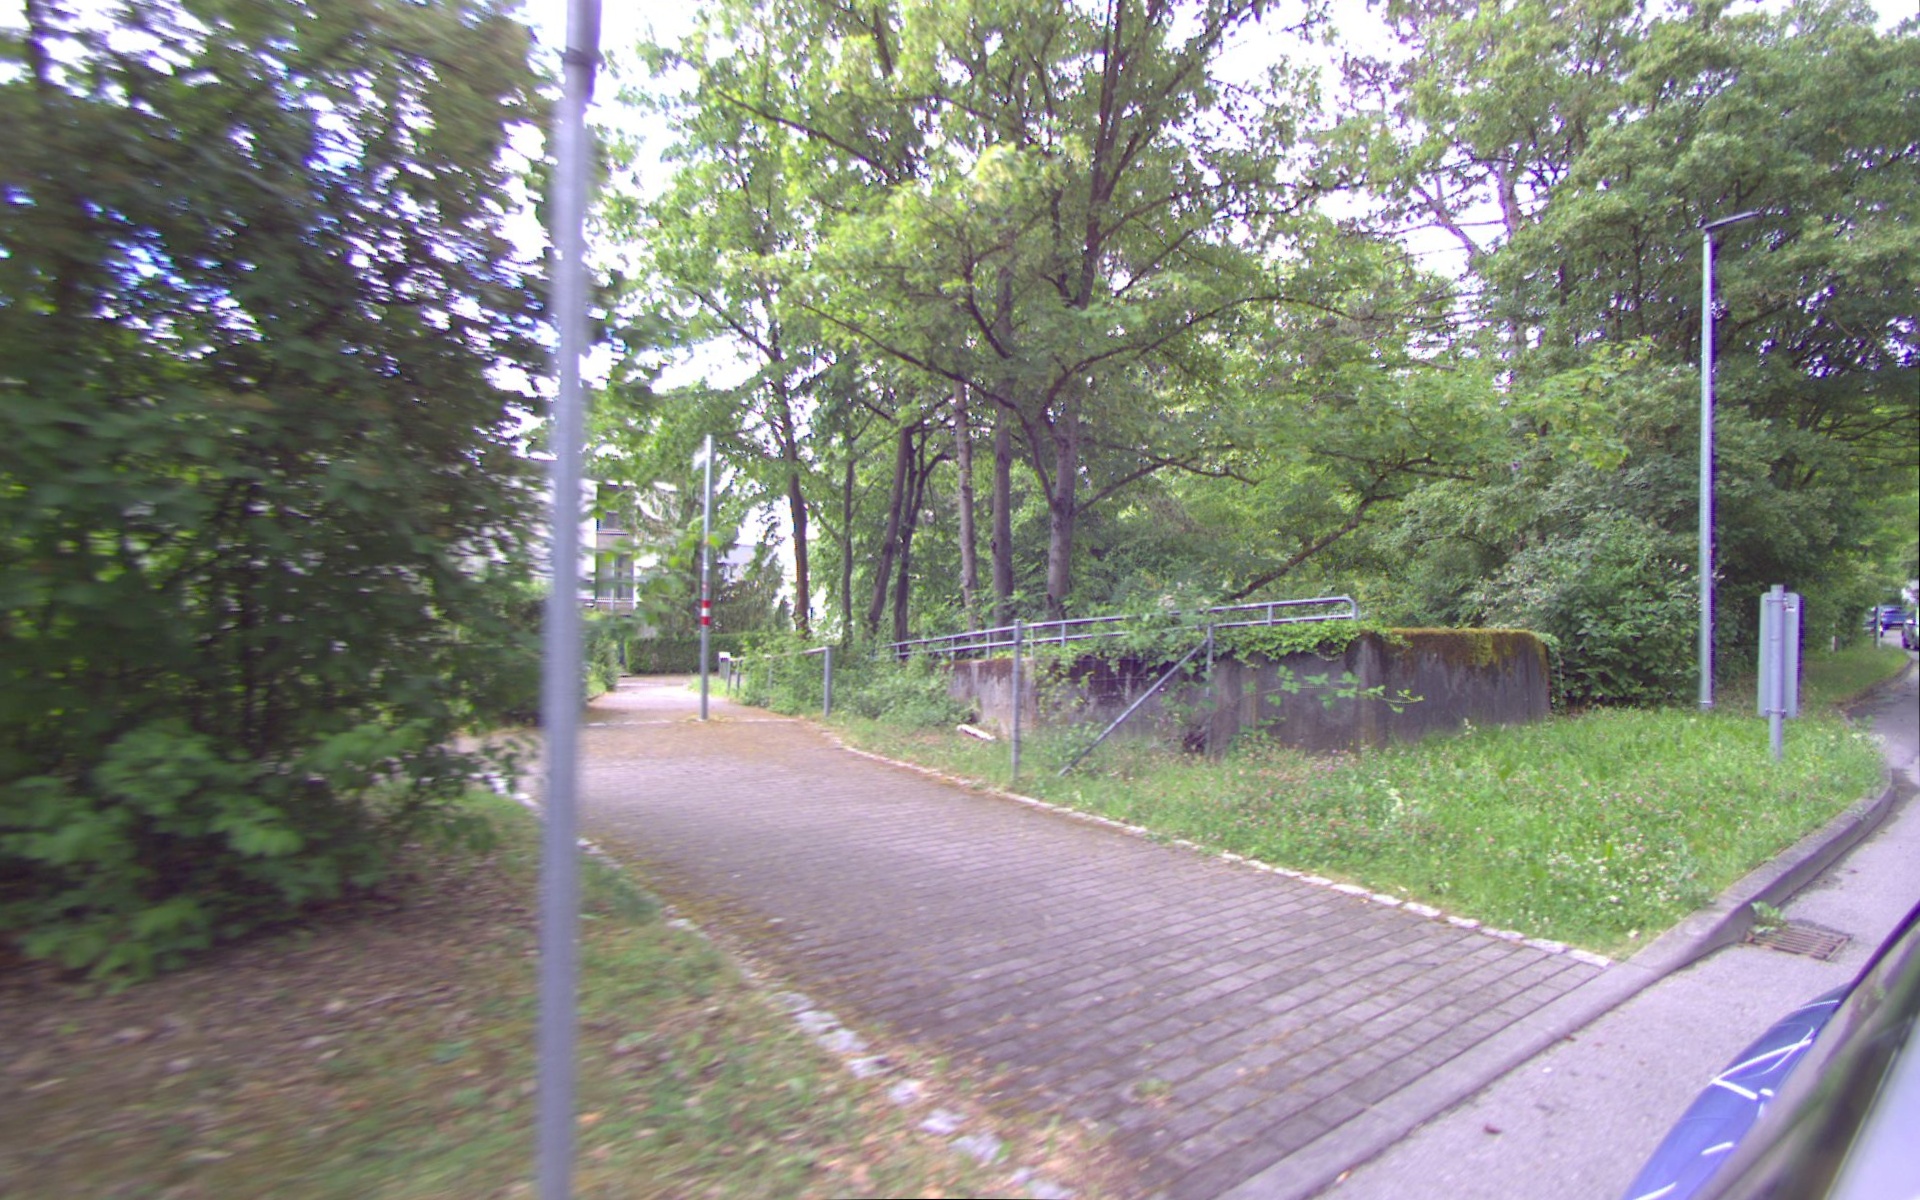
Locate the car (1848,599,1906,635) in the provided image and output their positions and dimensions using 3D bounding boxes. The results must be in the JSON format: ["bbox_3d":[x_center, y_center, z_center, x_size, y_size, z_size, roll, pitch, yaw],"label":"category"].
[{"bbox_3d":[47.344,0.888,52.306,1.990,1.693,3.943,-3,-1,40],"label":"car"}]

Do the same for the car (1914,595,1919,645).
[{"bbox_3d":[36.128,0.682,36.782,1.992,1.716,3.938,-3,-1,43],"label":"car"}]

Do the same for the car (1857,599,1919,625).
[{"bbox_3d":[56.997,0.718,61.866,1.830,1.511,3.973,-1,-1,20],"label":"car"}]
